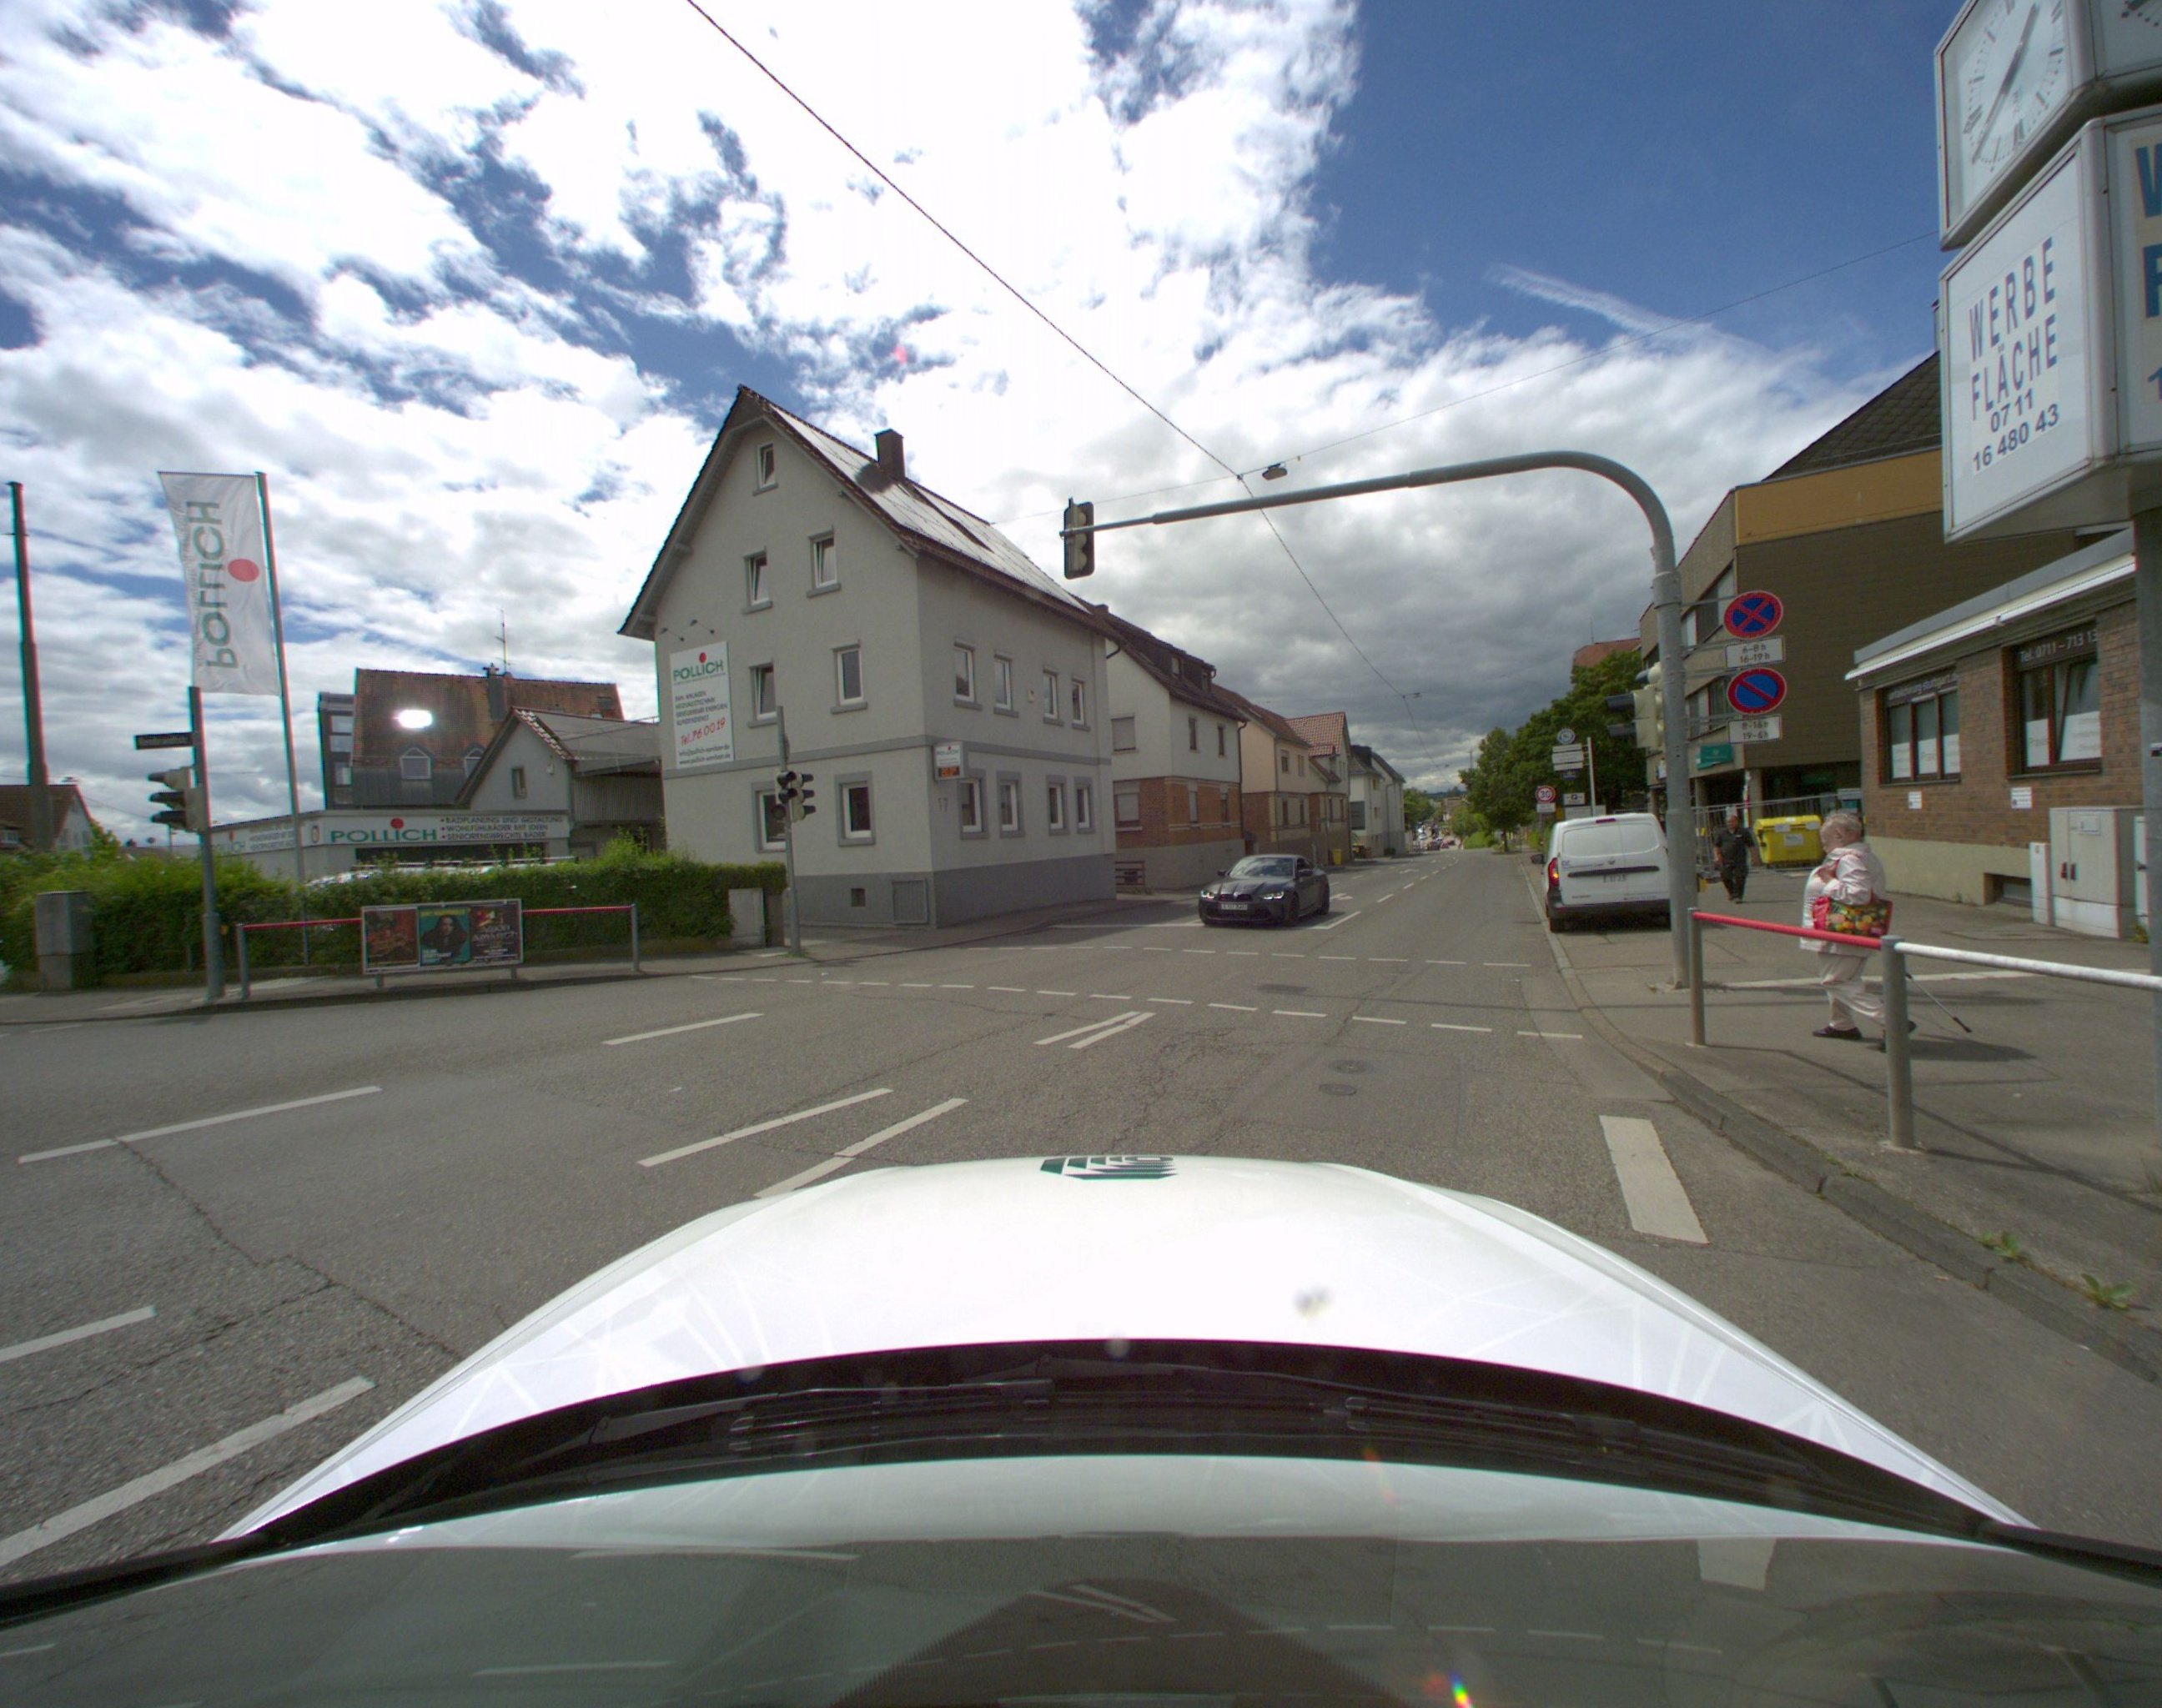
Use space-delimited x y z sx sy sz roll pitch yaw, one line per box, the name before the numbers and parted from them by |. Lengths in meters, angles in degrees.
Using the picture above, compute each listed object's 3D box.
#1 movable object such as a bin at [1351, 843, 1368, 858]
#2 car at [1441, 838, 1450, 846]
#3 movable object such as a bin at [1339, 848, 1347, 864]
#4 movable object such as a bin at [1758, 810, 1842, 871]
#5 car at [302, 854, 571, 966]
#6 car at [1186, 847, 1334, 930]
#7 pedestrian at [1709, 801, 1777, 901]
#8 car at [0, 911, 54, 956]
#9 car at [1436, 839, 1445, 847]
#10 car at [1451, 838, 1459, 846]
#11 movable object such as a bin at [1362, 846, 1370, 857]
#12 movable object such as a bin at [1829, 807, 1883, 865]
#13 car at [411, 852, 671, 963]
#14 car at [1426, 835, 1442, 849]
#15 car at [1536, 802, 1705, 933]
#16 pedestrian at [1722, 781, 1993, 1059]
movable object such as a bin | 24.576 -0.318 71.871 1.270 1.310 0.821 -3 0 22
car | 93.948 -3.077 210.172 1.976 2.014 4.022 -3 -1 23
movable object such as a bin | 18.338 0.141 57.051 0.427 1.128 0.301 -4 -1 26
movable object such as a bin | 19.371 -0.368 21.976 1.468 1.492 1.083 -3 2 31
car | -13.721 1.101 17.601 1.974 2.013 4.025 -3 0 29
car | 3.995 0.633 17.487 1.975 1.457 4.645 -1 1 27
pedestrian | 12.364 -0.054 15.236 0.835 1.803 0.655 -1 0 27
car | -53.200 3.949 40.197 2.009 2.013 3.957 -3 0 -35
car | 97.023 -3.067 219.947 1.976 2.014 4.022 -3 -1 23
car | 102.745 -3.298 223.664 1.976 2.014 4.022 -3 -1 23
movable object such as a bin | 25.388 -0.225 72.588 0.526 1.030 0.458 -3 0 26
movable object such as a bin | 20.359 -0.482 21.423 0.772 1.440 1.024 -3 2 31
car | -11.167 1.036 17.164 1.974 1.947 4.025 -4 0 28
car | 56.637 -1.916 130.859 1.977 2.013 4.019 -2 0 19
car | 9.053 0.182 14.055 1.893 1.794 4.518 -6 -1 28
pedestrian | 5.108 0.409 5.434 0.831 1.637 0.873 -4 -1 0
